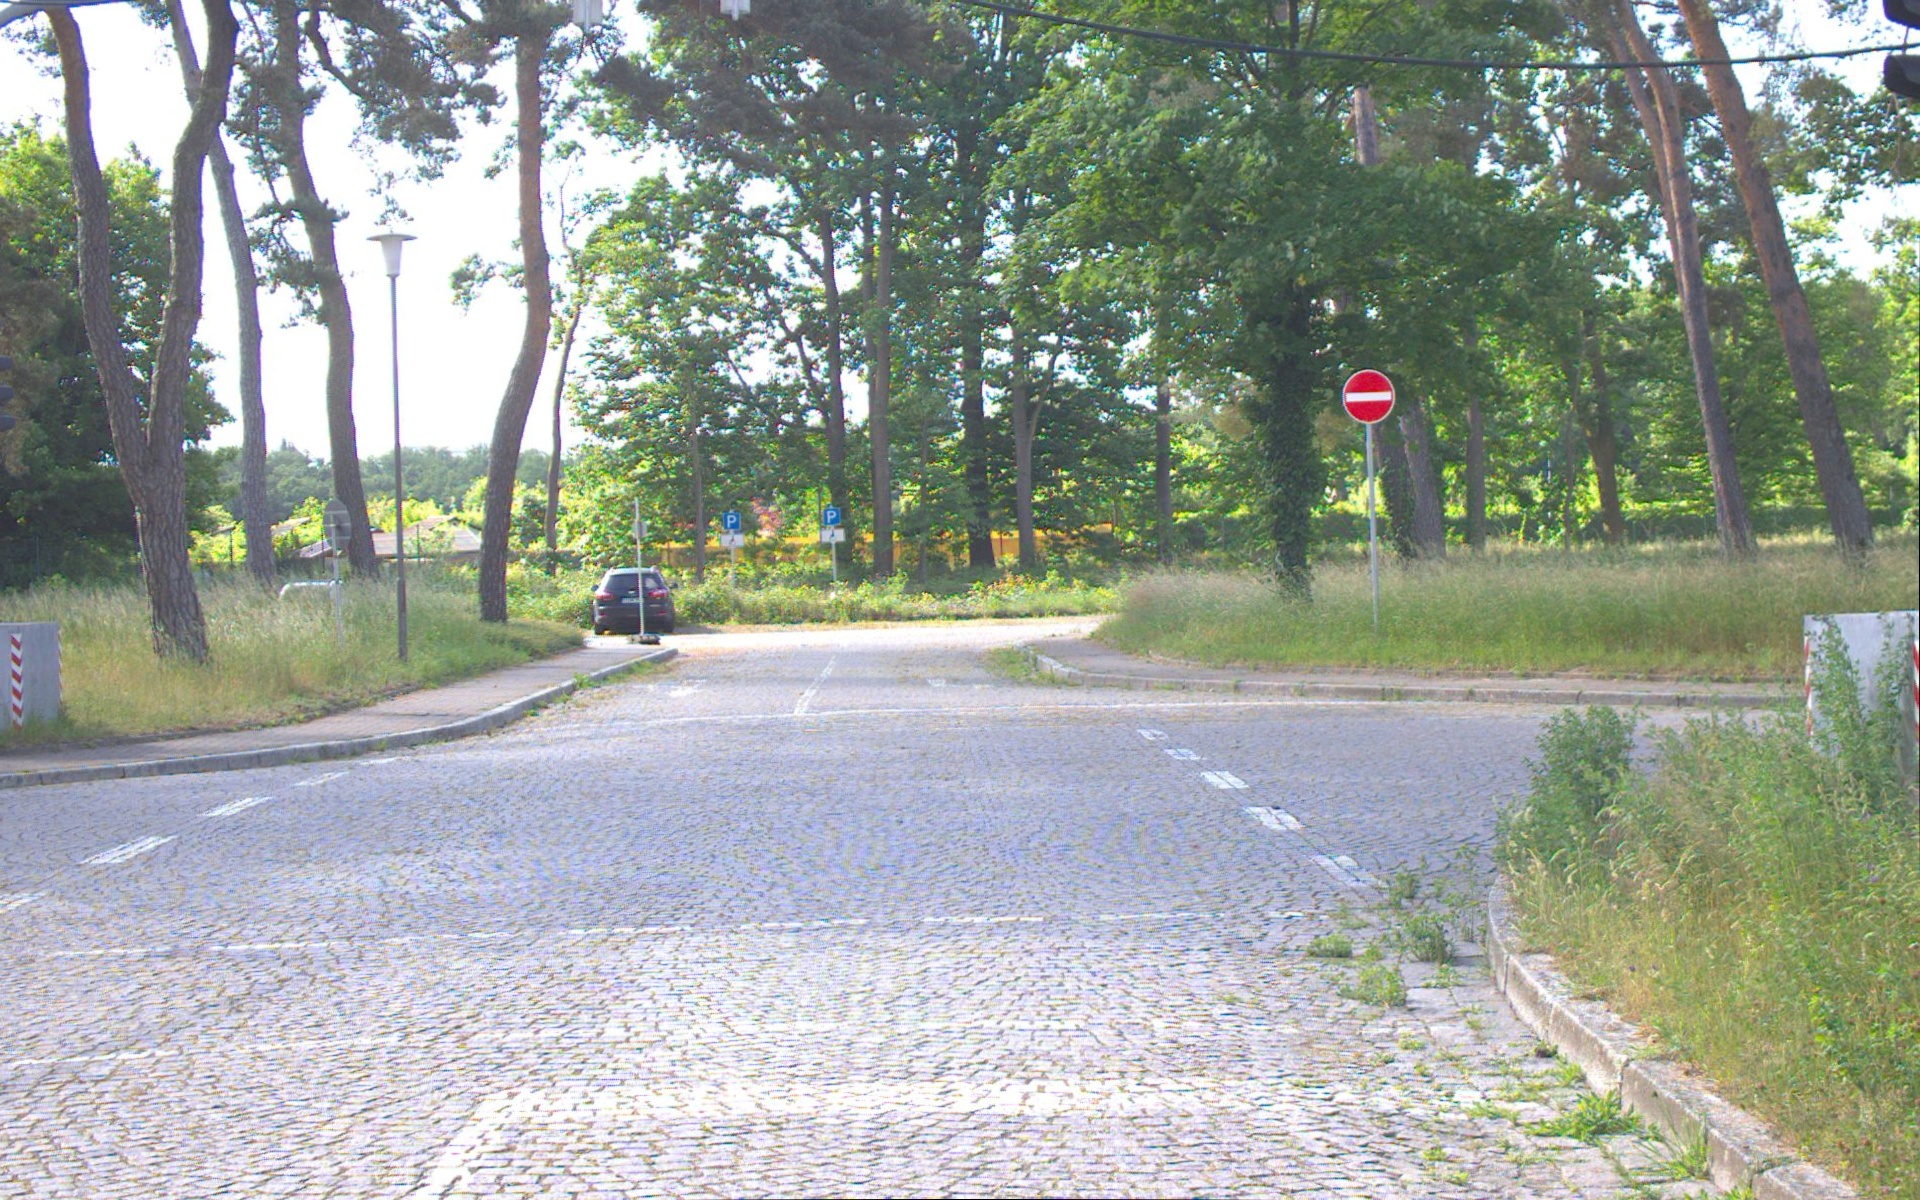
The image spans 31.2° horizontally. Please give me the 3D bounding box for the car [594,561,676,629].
[{"bbox_3d":[-7.592,-0.146,80.582,1.709,1.491,3.919,-2,1,-3],"label":"car"}]
